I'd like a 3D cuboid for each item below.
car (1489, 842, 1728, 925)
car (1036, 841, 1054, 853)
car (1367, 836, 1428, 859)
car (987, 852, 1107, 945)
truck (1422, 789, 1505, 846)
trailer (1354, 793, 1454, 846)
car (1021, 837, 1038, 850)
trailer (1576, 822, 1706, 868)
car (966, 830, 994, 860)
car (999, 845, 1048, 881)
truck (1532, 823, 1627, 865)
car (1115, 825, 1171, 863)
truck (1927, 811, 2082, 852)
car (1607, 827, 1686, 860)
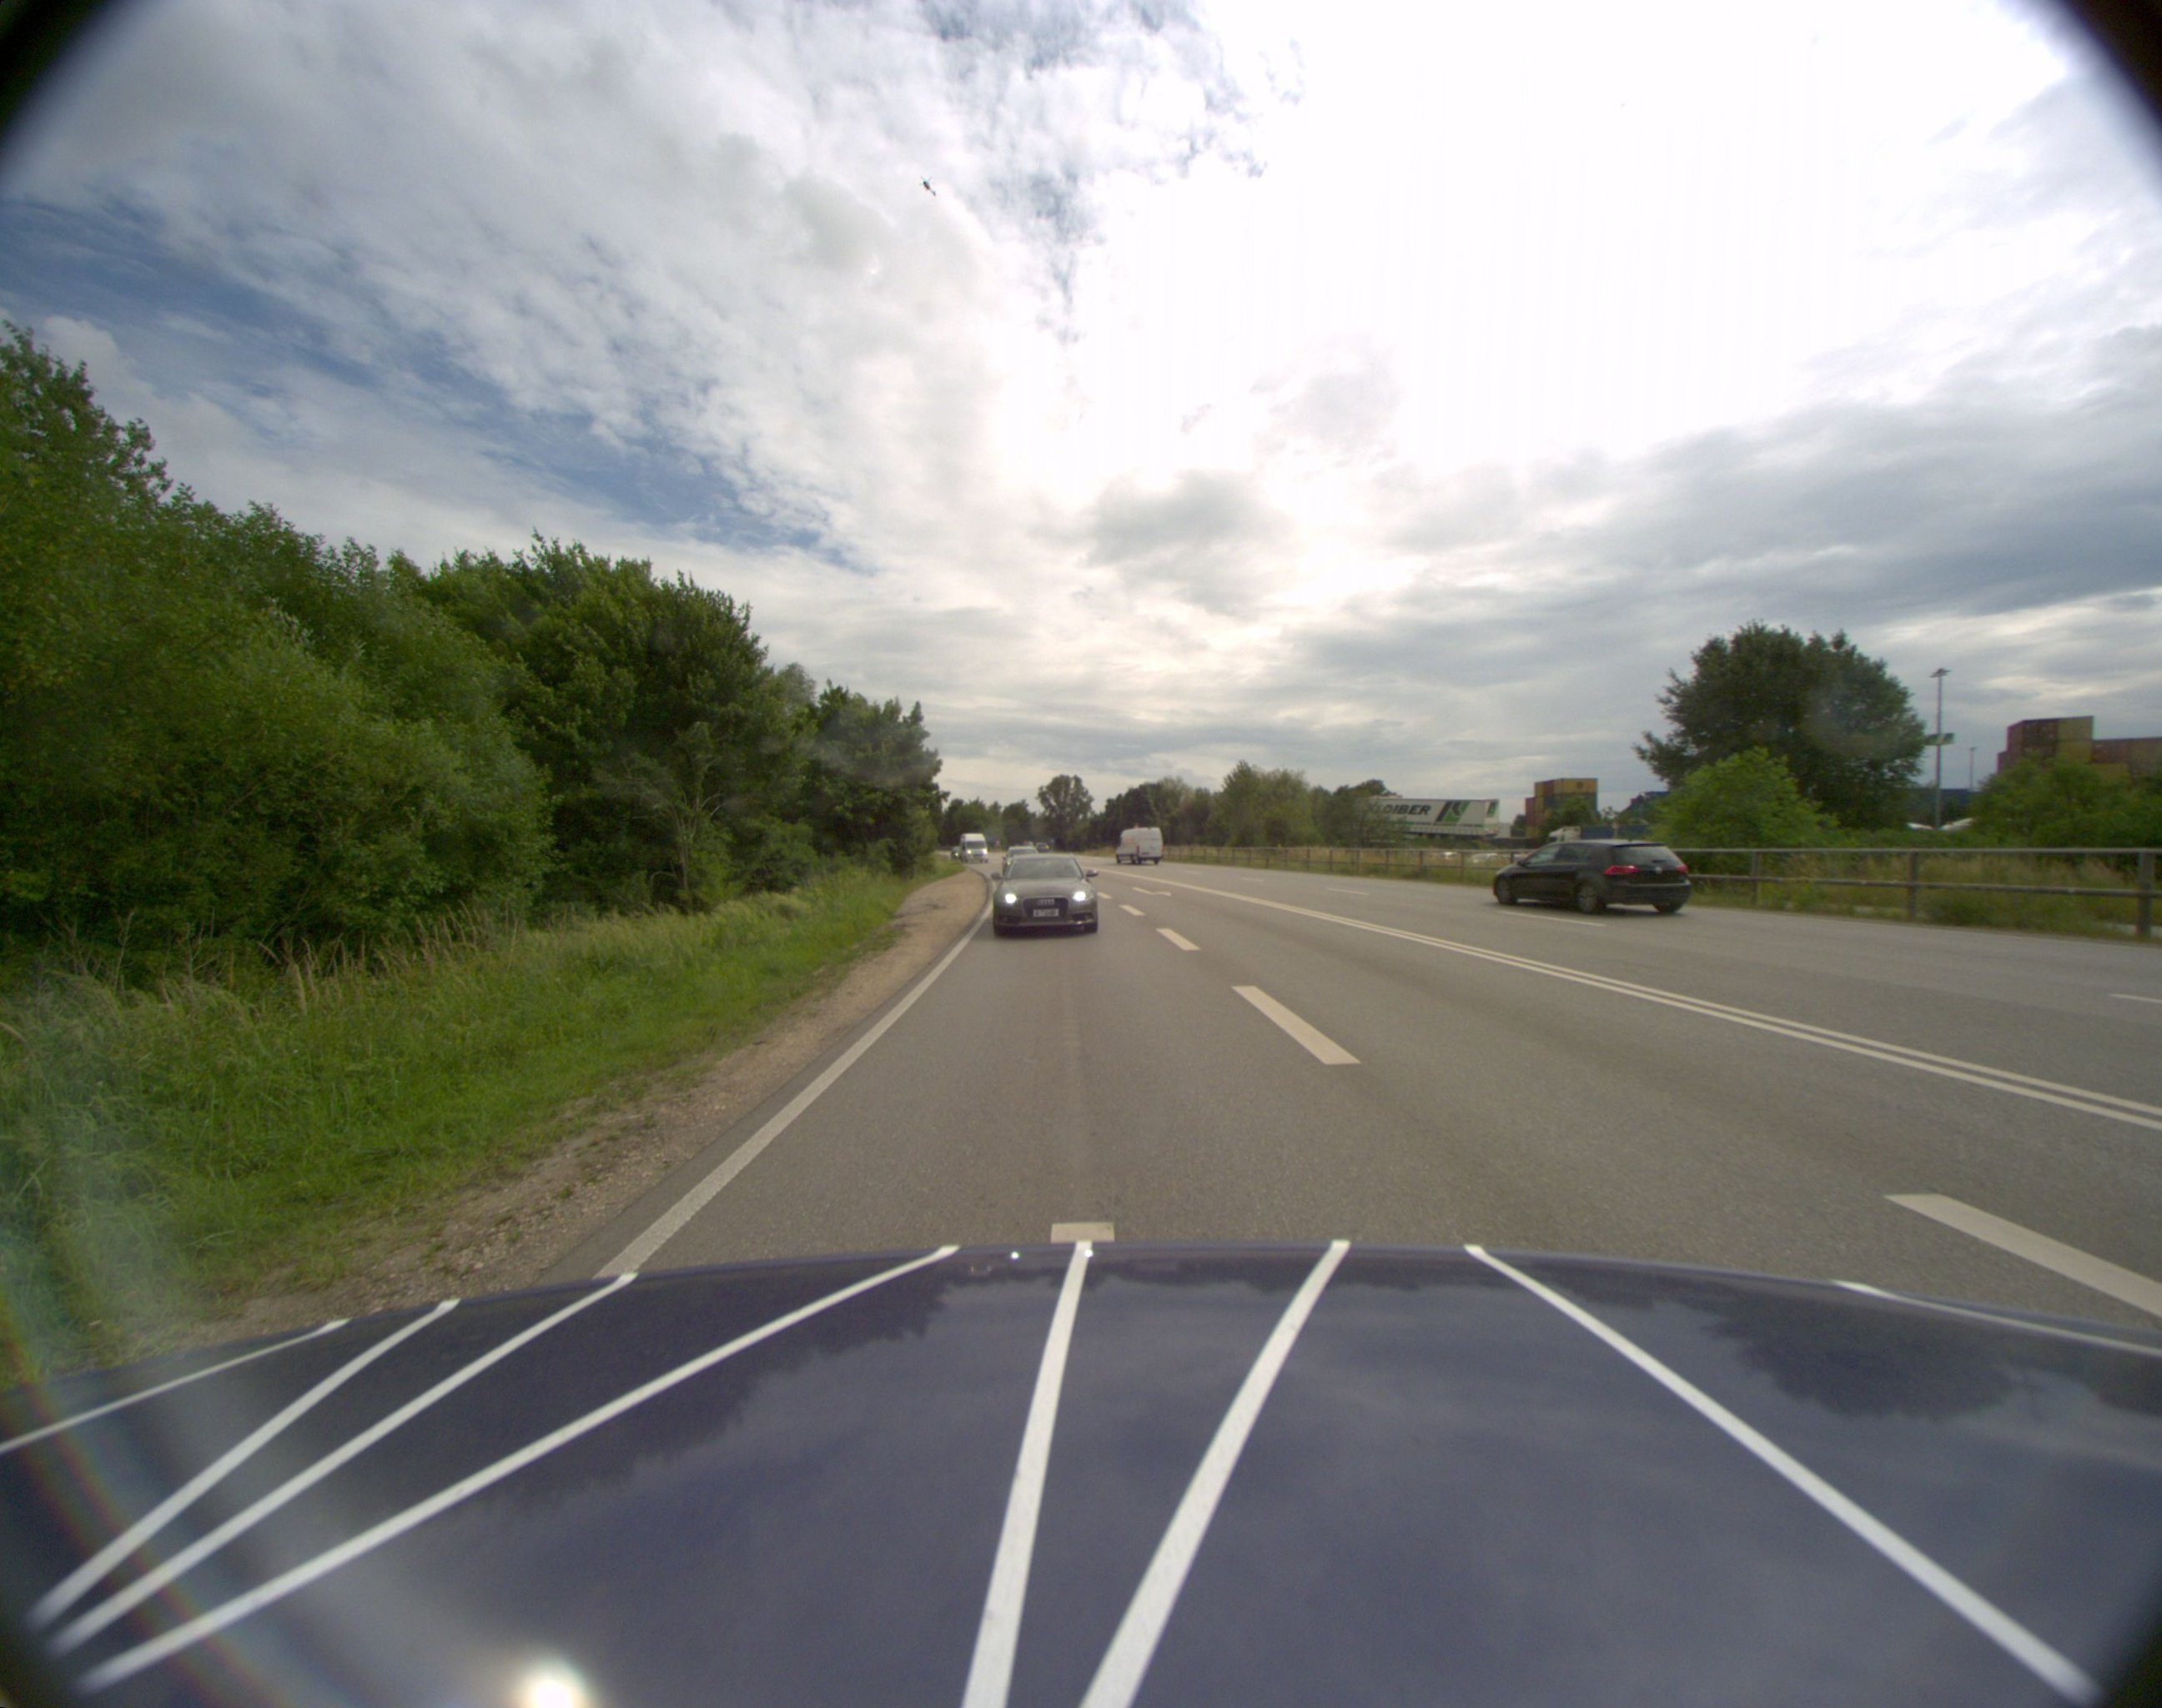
[{"bbox_3d":[10.455,0.493,15.489,1.951,1.433,3.998,-1,1,-3],"label":"car"},{"bbox_3d":[-4.672,-0.900,98.790,1.814,1.433,4.349,-2,1,-9],"label":"car"},{"bbox_3d":[26.674,-0.558,64.177,4.537,1.865,2.002,-1,1,16],"label":"car"},{"bbox_3d":[-0.816,0.750,15.038,1.959,1.527,3.997,-1,1,-8],"label":"car"},{"bbox_3d":[35.358,-3.301,70.433,2.809,4.968,6.173,-3,2,-34],"label":"truck"},{"bbox_3d":[31.891,-3.330,75.487,2.812,4.968,8.960,-3,2,-34],"label":"trailer"},{"bbox_3d":[-8.466,-1.683,124.812,2.001,2.002,4.660,-2,1,-14],"label":"car"},{"bbox_3d":[55.660,-0.927,76.067,3.245,4.268,10.385,-2,1,-21],"label":"trailer"},{"bbox_3d":[-9.419,-0.810,70.668,2.221,2.655,5.234,-3,1,-10],"label":"car"},{"bbox_3d":[-2.909,0.390,37.880,2.022,1.604,4.276,-2,1,-9],"label":"car"},{"bbox_3d":[53.489,-1.043,81.841,3.245,4.268,8.303,-2,1,-21],"label":"truck"},{"bbox_3d":[4.605,-0.723,57.790,2.442,2.659,6.880,-2,1,-10],"label":"car"},{"bbox_3d":[64.447,-1.551,53.277,6.636,2.667,2.658,0,2,45],"label":"truck"},{"bbox_3d":[33.334,-0.639,44.781,4.591,1.725,1.995,-3,2,-29],"label":"car"}]
